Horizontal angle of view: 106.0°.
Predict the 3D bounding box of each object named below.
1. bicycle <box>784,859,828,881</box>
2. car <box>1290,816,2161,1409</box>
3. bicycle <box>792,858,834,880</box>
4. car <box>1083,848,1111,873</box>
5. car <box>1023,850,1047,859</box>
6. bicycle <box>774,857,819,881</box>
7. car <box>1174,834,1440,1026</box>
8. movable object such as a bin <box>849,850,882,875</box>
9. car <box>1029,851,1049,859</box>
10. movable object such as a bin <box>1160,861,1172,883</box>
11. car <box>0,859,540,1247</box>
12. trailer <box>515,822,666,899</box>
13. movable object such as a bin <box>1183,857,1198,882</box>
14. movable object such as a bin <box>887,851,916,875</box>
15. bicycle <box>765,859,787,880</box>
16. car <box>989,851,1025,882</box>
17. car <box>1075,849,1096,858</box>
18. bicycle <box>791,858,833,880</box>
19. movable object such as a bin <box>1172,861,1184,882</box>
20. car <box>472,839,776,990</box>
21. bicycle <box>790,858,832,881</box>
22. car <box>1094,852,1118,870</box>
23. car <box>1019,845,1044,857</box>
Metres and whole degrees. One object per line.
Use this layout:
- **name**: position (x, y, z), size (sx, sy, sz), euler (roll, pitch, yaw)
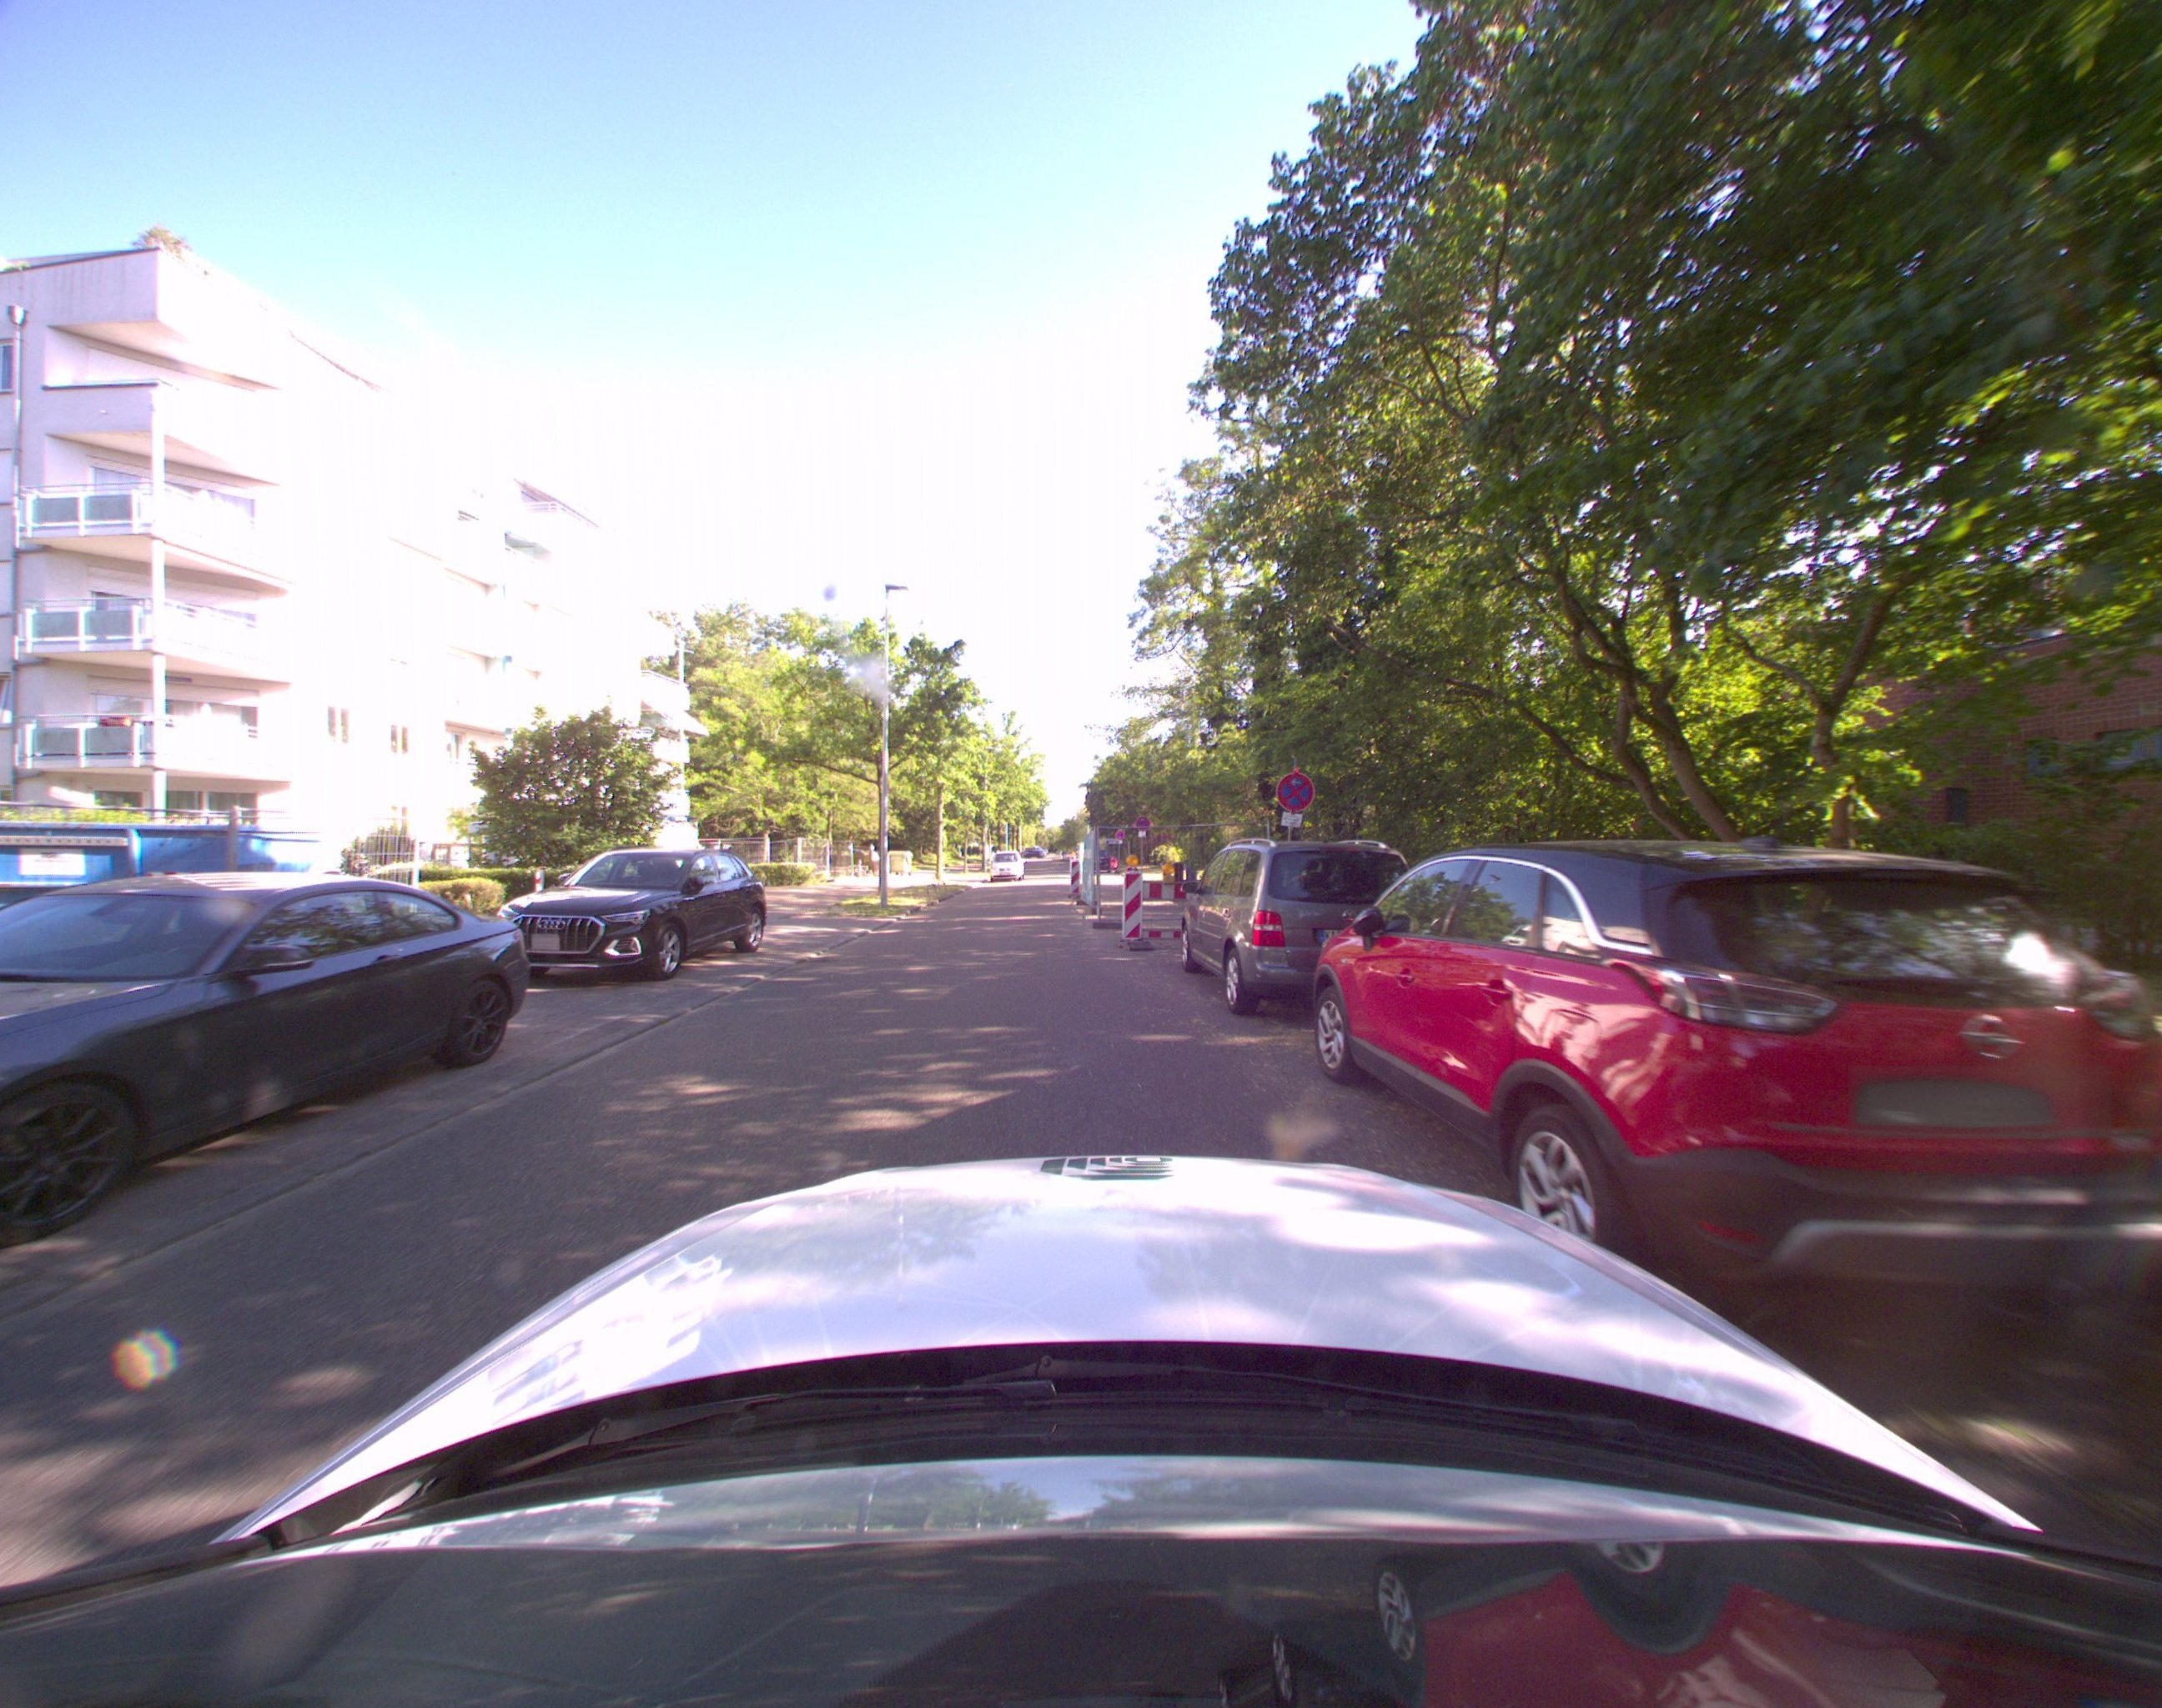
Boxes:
- **bicycle**: position (-12.701, 0.734, 37.658), size (1.858, 1.027, 0.398), euler (0, -1, -14)
- **car**: position (2.440, 0.683, 4.213), size (1.673, 1.574, 4.065), euler (0, 0, 0)
- **bicycle**: position (-12.989, 0.704, 39.481), size (1.917, 1.027, 0.398), euler (0, -1, -14)
- **car**: position (1.162, 0.412, 57.432), size (1.802, 1.651, 4.424), euler (1, 0, 3)
- **car**: position (-8.677, 0.061, 153.520), size (4.297, 1.576, 2.049), euler (1, 0, 5)
- **bicycle**: position (-12.819, 0.681, 36.713), size (1.871, 1.027, 0.398), euler (0, -1, -14)
- **car**: position (2.167, 0.638, 9.000), size (1.674, 1.621, 4.134), euler (0, 0, -2)
- **movable object such as a bin**: position (-12.532, 0.486, 47.454), size (1.257, 1.435, 1.334), euler (-1, 0, 27)
- **car**: position (-8.786, 0.112, 169.820), size (4.093, 1.576, 1.958), euler (1, 0, 0)
- **movable object such as a bin**: position (3.517, 0.745, 33.564), size (0.411, 0.870, 0.484), euler (-2, 0, -1)
- **car**: position (-5.169, 0.787, 4.583), size (1.713, 1.432, 4.130), euler (1, 0, -5)
- **trailer**: position (-15.050, 0.174, 25.301), size (1.856, 2.120, 4.349), euler (1, 0, 2)
- **movable object such as a bin**: position (4.521, 0.639, 33.588), size (0.517, 0.999, 0.608), euler (-2, 0, -1)
- **movable object such as a bin**: position (-10.718, 0.526, 48.717), size (1.260, 1.435, 1.186), euler (-1, 0, 15)
- **bicycle**: position (-15.115, 0.762, 40.389), size (0.398, 1.027, 1.701), euler (-1, -1, 1)
- **car**: position (-3.984, 0.641, 44.276), size (1.655, 1.596, 4.006), euler (0, 0, -2)
- **car**: position (0.846, -0.014, 149.280), size (3.820, 1.576, 1.691), euler (1, 0, 5)
- **bicycle**: position (-12.883, 0.720, 39.019), size (1.840, 1.027, 0.398), euler (0, -1, -14)
- **movable object such as a bin**: position (4.005, 0.725, 33.655), size (0.411, 0.870, 0.484), euler (-2, 0, -1)
- **car**: position (-5.806, 0.654, 11.054), size (1.770, 1.621, 4.218), euler (1, 0, -1)
- **bicycle**: position (-12.801, 0.729, 38.600), size (1.861, 1.027, 0.398), euler (0, -1, -14)
- **car**: position (1.959, 0.529, 64.174), size (1.657, 1.375, 4.152), euler (1, 0, -1)
- **car**: position (-10.895, -0.688, 178.703), size (5.193, 2.621, 2.289), euler (1, 0, -6)
